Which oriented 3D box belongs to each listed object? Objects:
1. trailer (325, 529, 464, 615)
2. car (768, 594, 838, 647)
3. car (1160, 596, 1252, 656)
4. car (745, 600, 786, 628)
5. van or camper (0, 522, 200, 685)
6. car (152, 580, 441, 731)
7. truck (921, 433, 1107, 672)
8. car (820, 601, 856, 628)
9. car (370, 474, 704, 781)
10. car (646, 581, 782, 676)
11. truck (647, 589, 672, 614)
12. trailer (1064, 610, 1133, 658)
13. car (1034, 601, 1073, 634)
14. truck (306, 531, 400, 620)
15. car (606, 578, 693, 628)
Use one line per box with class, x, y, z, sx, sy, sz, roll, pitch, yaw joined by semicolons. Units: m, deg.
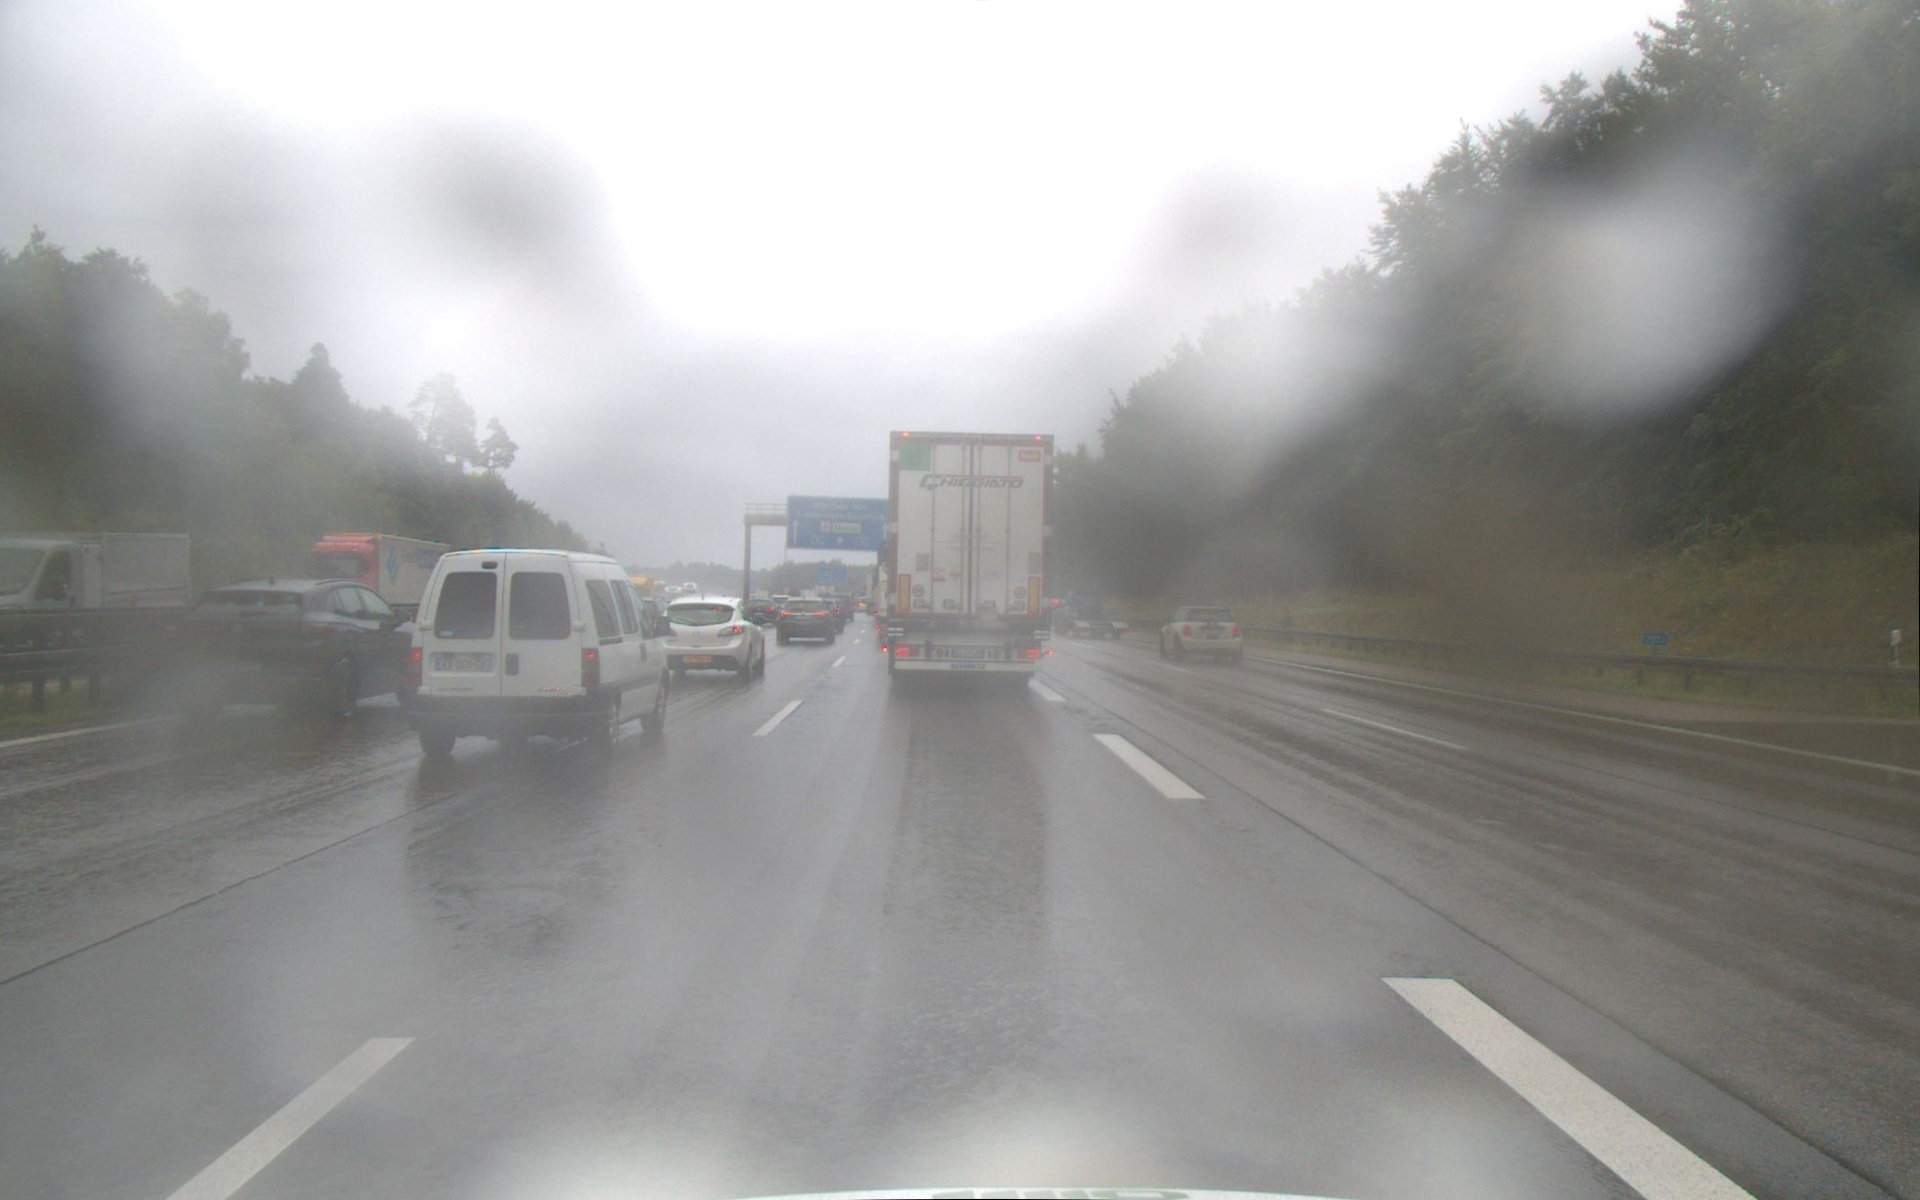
trailer;-28.725;-1.336;84.846;2.665;4.023;13.955;-1;0;-2
car;-5.138;0.636;54.525;1.807;1.619;4.467;1;0;1
car;6.368;0.638;43.186;1.754;1.431;4.228;1;0;0
car;-10.285;0.727;87.541;1.808;1.354;4.464;1;0;-2
van or camper;-15.238;0.025;27.936;2.182;2.465;5.700;1;0;-1
car;-7.909;0.581;20.209;1.808;1.619;4.465;1;0;-1
truck;0.848;-0.707;31.023;2.813;3.624;11.301;1;0;0
car;-6.697;0.792;91.349;1.808;1.354;4.464;1;0;-2
car;-4.041;0.219;16.808;2.168;2.618;5.014;1;0;-1
car;-4.457;0.476;30.507;1.807;1.619;4.072;1;0;1
truck;-44.774;0.163;246.404;2.470;3.544;11.708;1;0;-5
trailer;5.574;1.353;67.061;2.198;1.744;5.080;1;0;-2
car;4.936;0.900;87.637;1.948;1.611;4.768;1;0;2
truck;-28.537;-1.108;77.927;2.649;4.023;4.890;-1;0;-1
car;-8.874;0.063;47.524;1.808;1.354;4.464;1;0;-2
